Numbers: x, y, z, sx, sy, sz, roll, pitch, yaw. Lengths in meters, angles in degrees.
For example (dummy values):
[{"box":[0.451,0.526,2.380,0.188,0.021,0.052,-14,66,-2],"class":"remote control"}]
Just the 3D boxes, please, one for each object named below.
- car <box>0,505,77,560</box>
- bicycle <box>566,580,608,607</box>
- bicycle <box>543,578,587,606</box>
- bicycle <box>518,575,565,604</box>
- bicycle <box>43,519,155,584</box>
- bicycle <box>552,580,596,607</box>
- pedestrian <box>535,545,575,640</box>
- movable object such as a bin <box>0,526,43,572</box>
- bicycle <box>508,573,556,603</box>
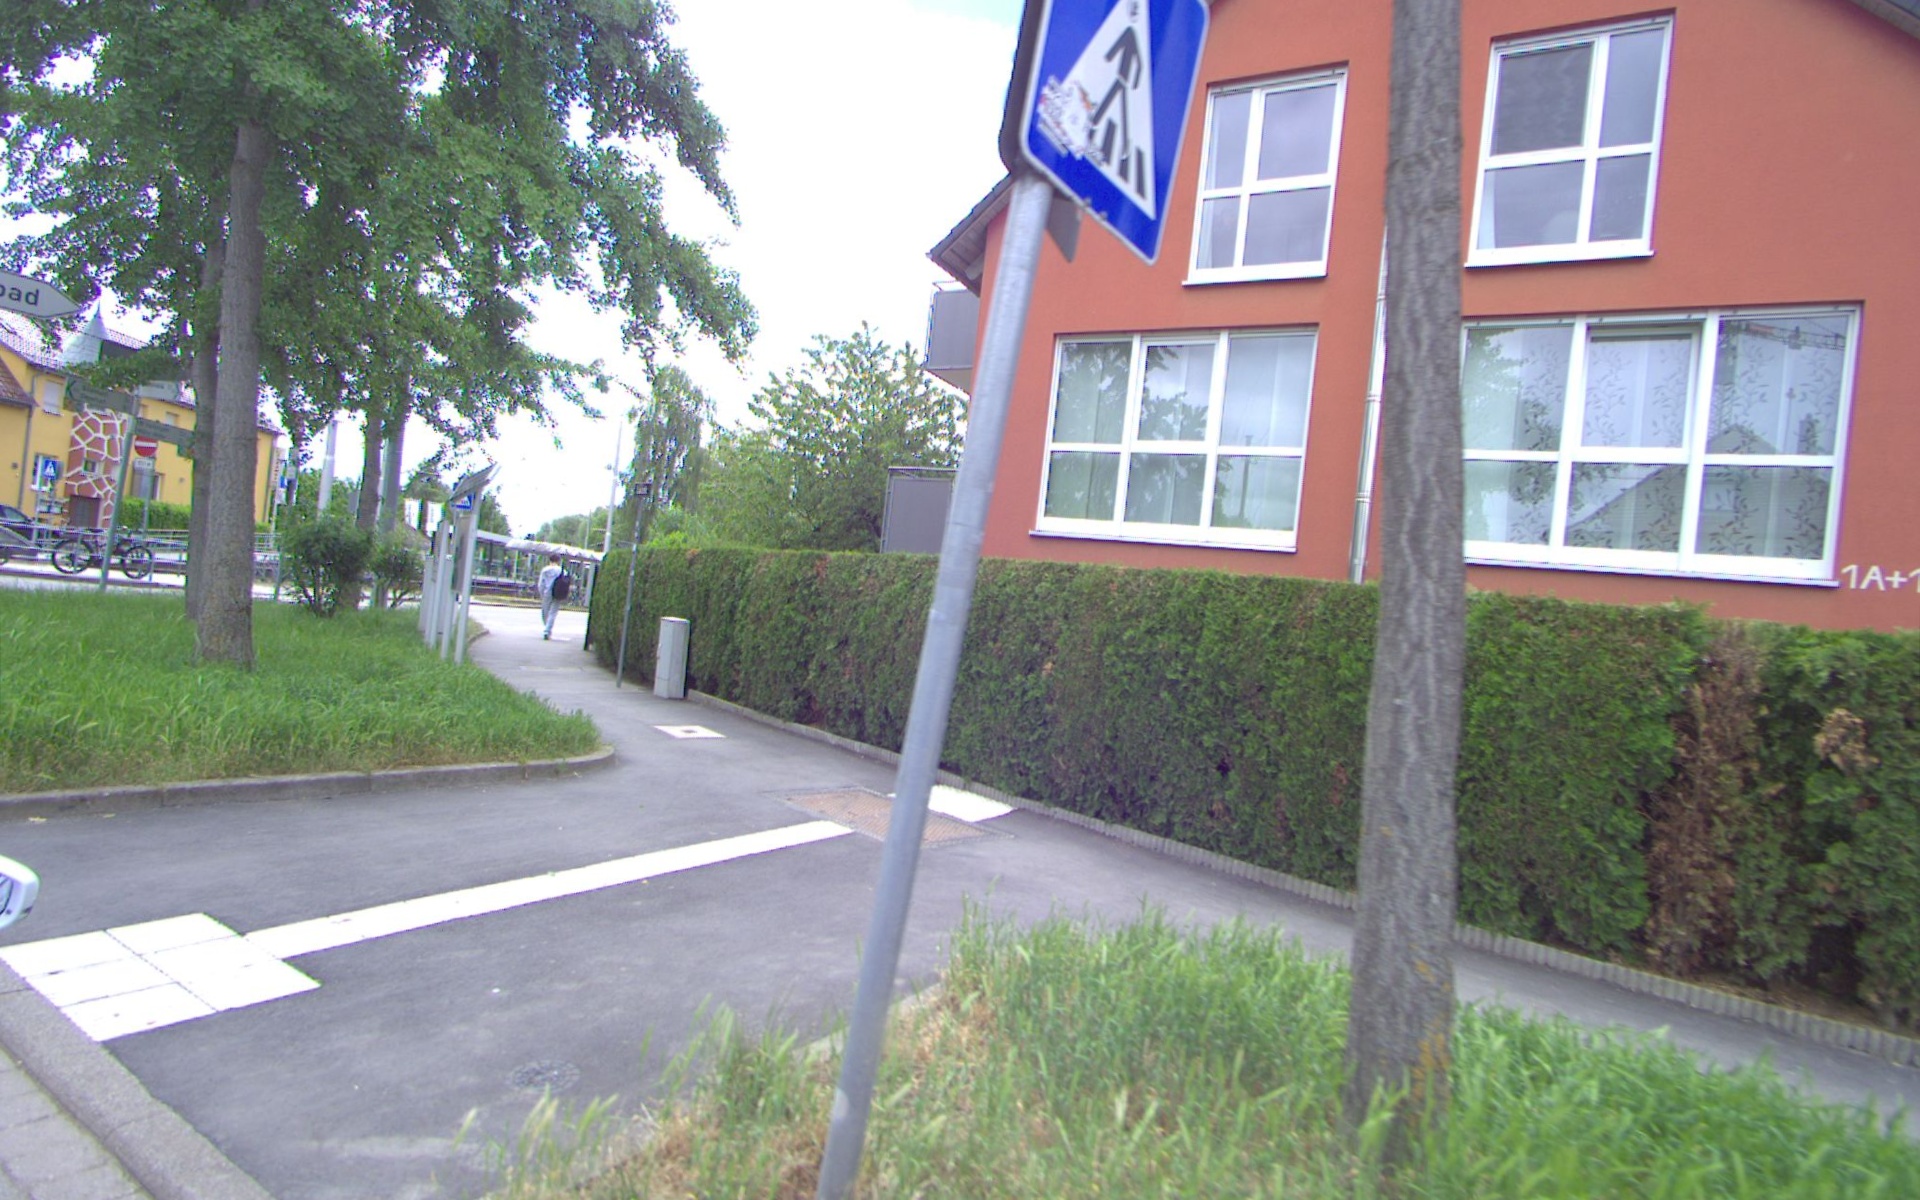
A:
[{"box":[-33.383,-2.518,34.337,2.319,1.582,4.377,8,-2,3],"class":"car"},{"box":[-18.201,-0.318,49.050,1.737,1.054,0.557,7,-1,2],"class":"bicycle"},{"box":[-18.274,-0.353,46.566,1.737,1.054,0.557,7,-1,2],"class":"bicycle"},{"box":[-18.430,-0.445,44.282,1.737,1.054,0.557,7,-1,2],"class":"bicycle"},{"box":[-18.349,-1.007,21.484,0.458,1.169,1.692,6,-1,24],"class":"bicycle"},{"box":[-18.204,-0.322,47.465,1.737,1.054,0.557,7,-1,2],"class":"bicycle"},{"box":[-8.632,-0.167,21.465,0.617,1.939,0.827,6,1,-22],"class":"pedestrian"},{"box":[-19.220,-1.066,20.135,0.569,0.834,1.094,6,-1,28],"class":"movable object such as a bin"},{"box":[-18.460,-0.501,43.379,1.737,1.054,0.557,7,-1,2],"class":"bicycle"}]
